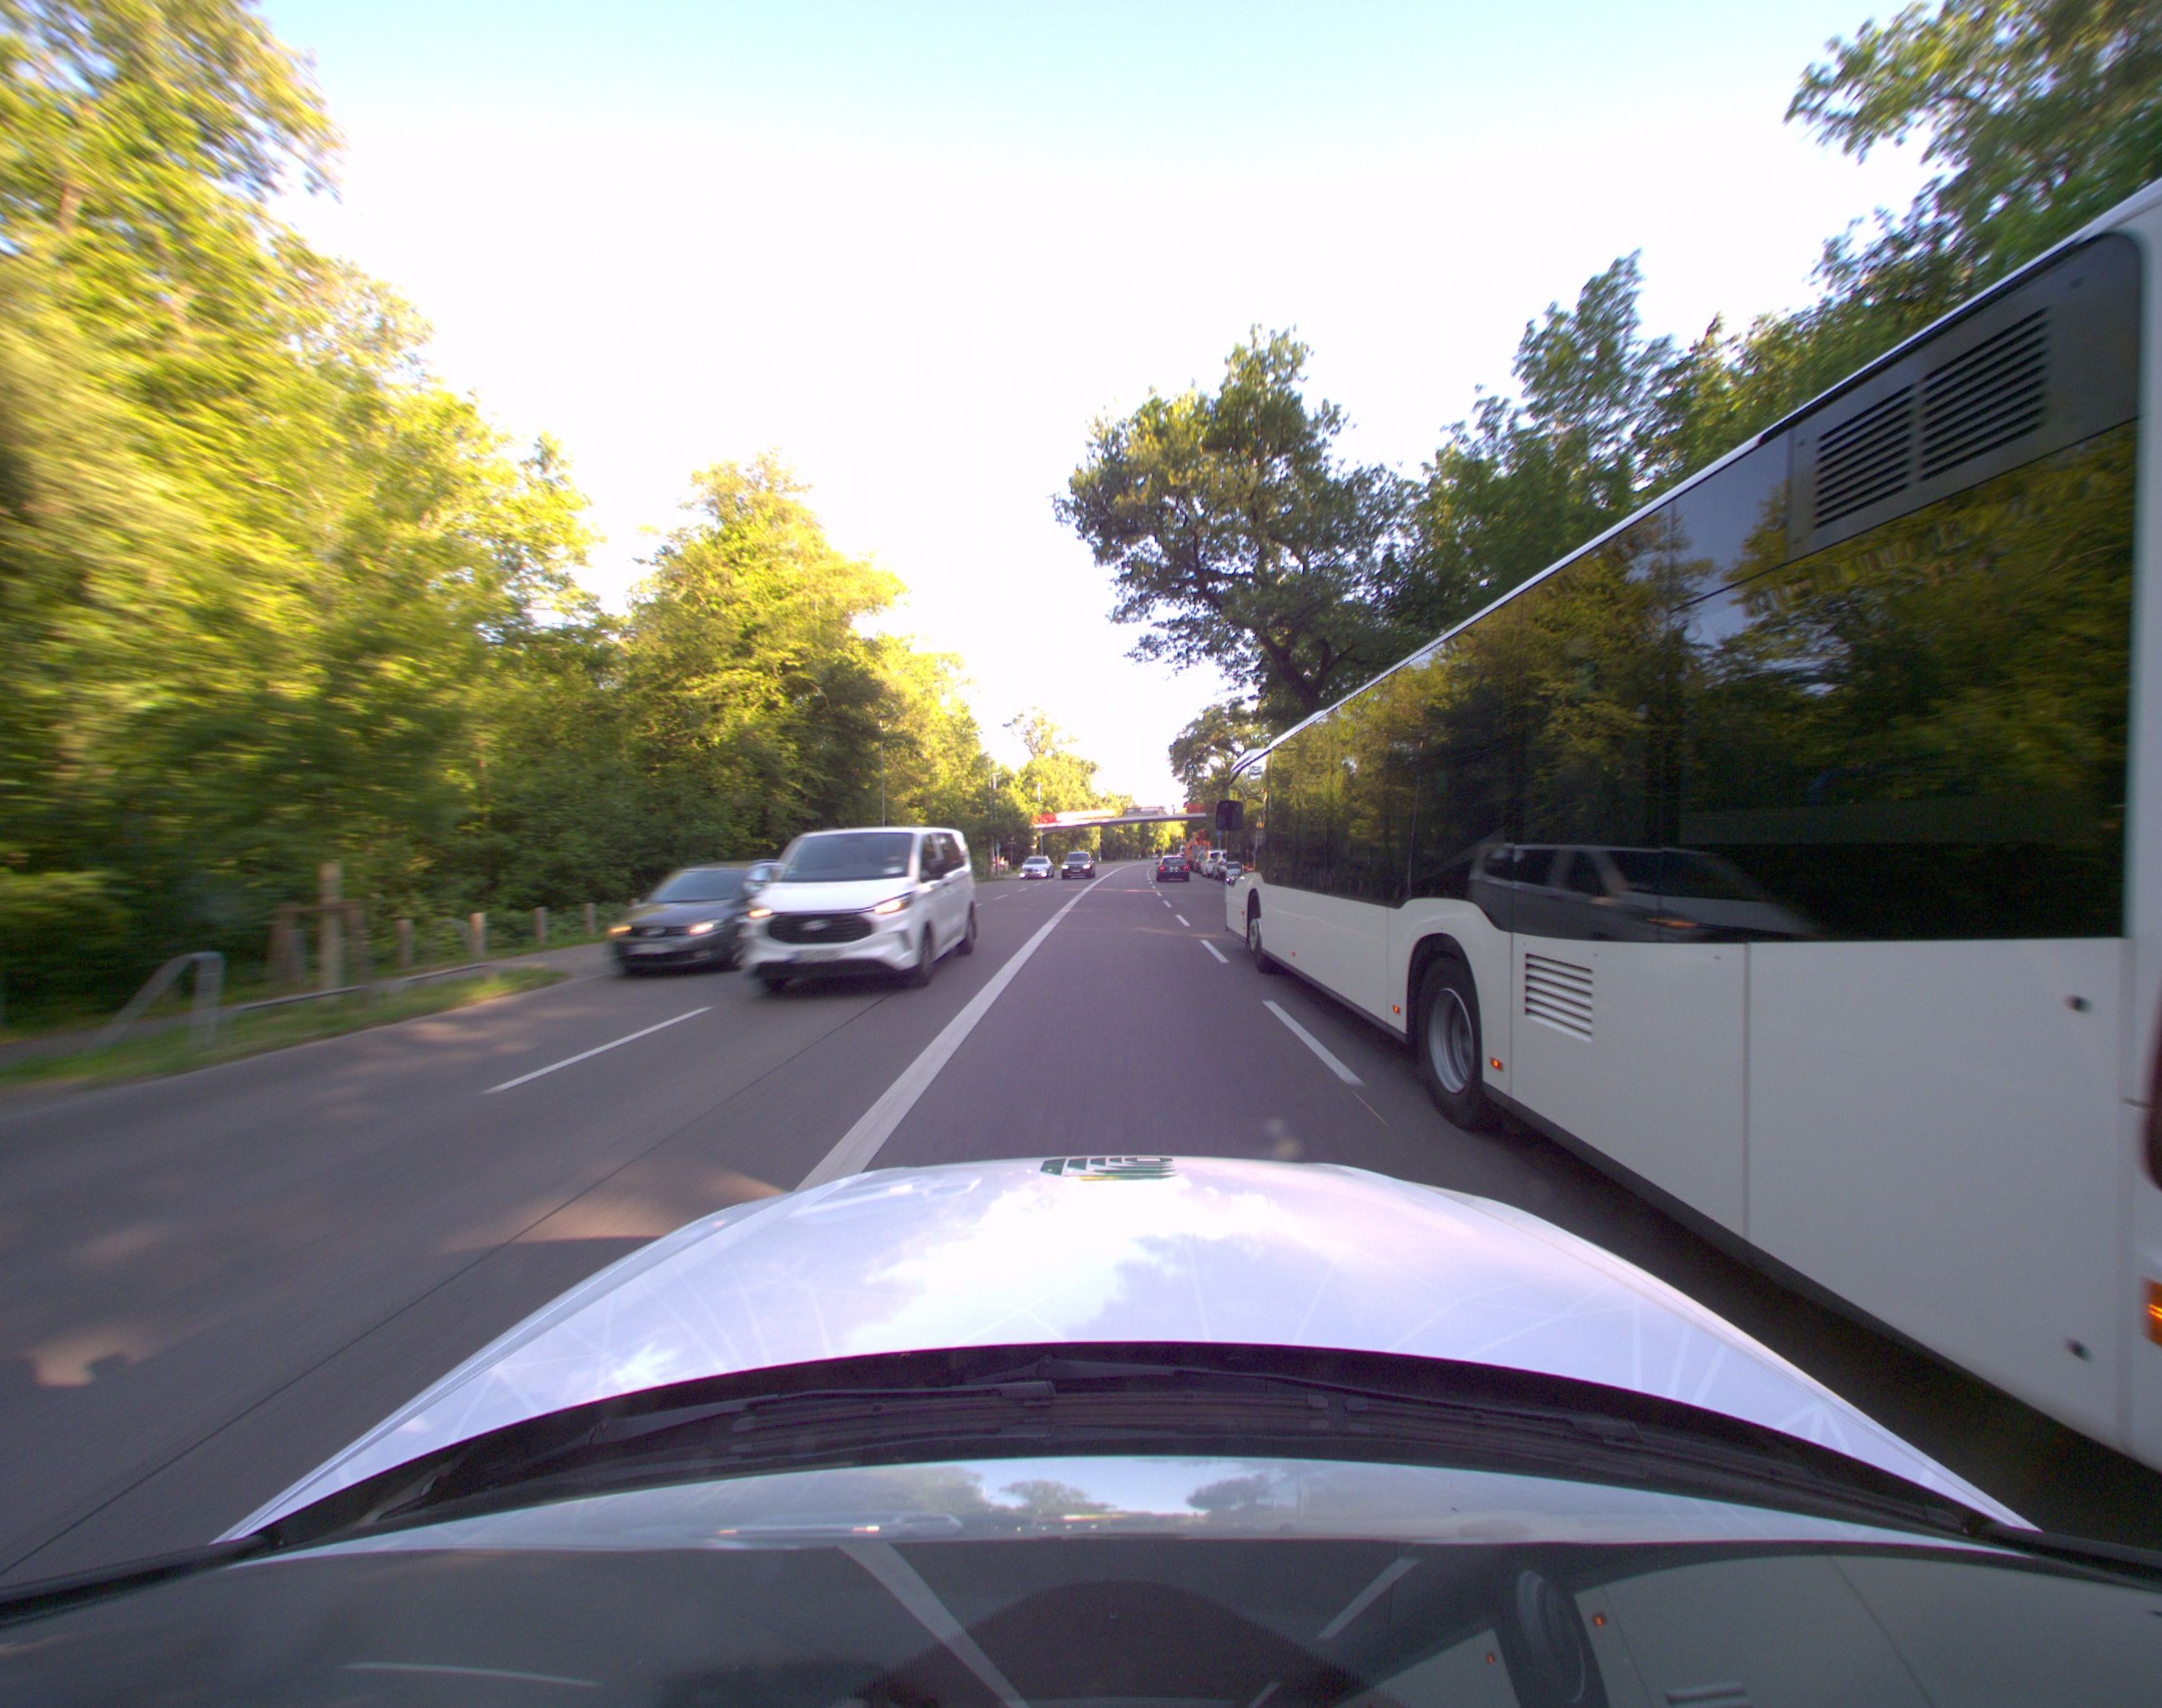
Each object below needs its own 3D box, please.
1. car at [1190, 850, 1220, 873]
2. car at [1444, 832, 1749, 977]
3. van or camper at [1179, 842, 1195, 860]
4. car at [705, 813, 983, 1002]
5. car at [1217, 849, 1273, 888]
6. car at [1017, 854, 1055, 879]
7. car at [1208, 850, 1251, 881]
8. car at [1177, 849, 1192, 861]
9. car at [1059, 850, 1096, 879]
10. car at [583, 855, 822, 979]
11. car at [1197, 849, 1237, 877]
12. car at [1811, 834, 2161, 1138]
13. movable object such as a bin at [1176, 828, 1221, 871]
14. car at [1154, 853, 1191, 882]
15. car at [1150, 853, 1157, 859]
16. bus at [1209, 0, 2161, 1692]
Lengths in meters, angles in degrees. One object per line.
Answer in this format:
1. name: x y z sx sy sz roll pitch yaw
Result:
1. car: 9.205 0.554 60.767 1.721 1.574 4.092 -2 0 2
2. car: 6.819 0.576 11.398 1.640 1.548 4.206 -4 0 2
3. van or camper: 15.413 -0.429 118.725 2.108 2.517 5.991 -2 0 6
4. car: -2.831 0.572 11.166 2.198 1.961 4.915 -2 0 2
5. car: 7.037 0.600 35.218 1.721 1.524 4.092 -2 0 2
6. car: -2.932 0.806 53.705 1.889 1.531 4.534 -2 0 4
7. car: 8.055 0.592 44.354 1.721 1.542 4.092 -2 0 2
8. car: 13.485 0.112 105.631 1.712 1.496 3.785 -4 0 9
9. car: -0.192 0.614 51.553 1.909 1.704 4.447 -2 0 4
10. car: -5.701 0.842 12.908 1.794 1.599 4.001 -2 0 1
11. car: 8.258 0.508 49.835 1.831 1.574 4.462 -2 0 2
12. car: 6.196 0.639 3.646 1.846 1.392 4.524 -4 0 2
13. movable object such as a bin: 9.834 -0.365 69.007 2.749 3.370 7.602 -2 0 1
14. car: 4.948 0.700 44.536 1.721 1.441 4.092 -2 0 2
15. car: 20.636 0.606 232.202 1.672 1.407 3.897 -4 -1 7
16. bus: 3.369 -0.146 7.426 2.694 3.222 12.282 -1 0 1
